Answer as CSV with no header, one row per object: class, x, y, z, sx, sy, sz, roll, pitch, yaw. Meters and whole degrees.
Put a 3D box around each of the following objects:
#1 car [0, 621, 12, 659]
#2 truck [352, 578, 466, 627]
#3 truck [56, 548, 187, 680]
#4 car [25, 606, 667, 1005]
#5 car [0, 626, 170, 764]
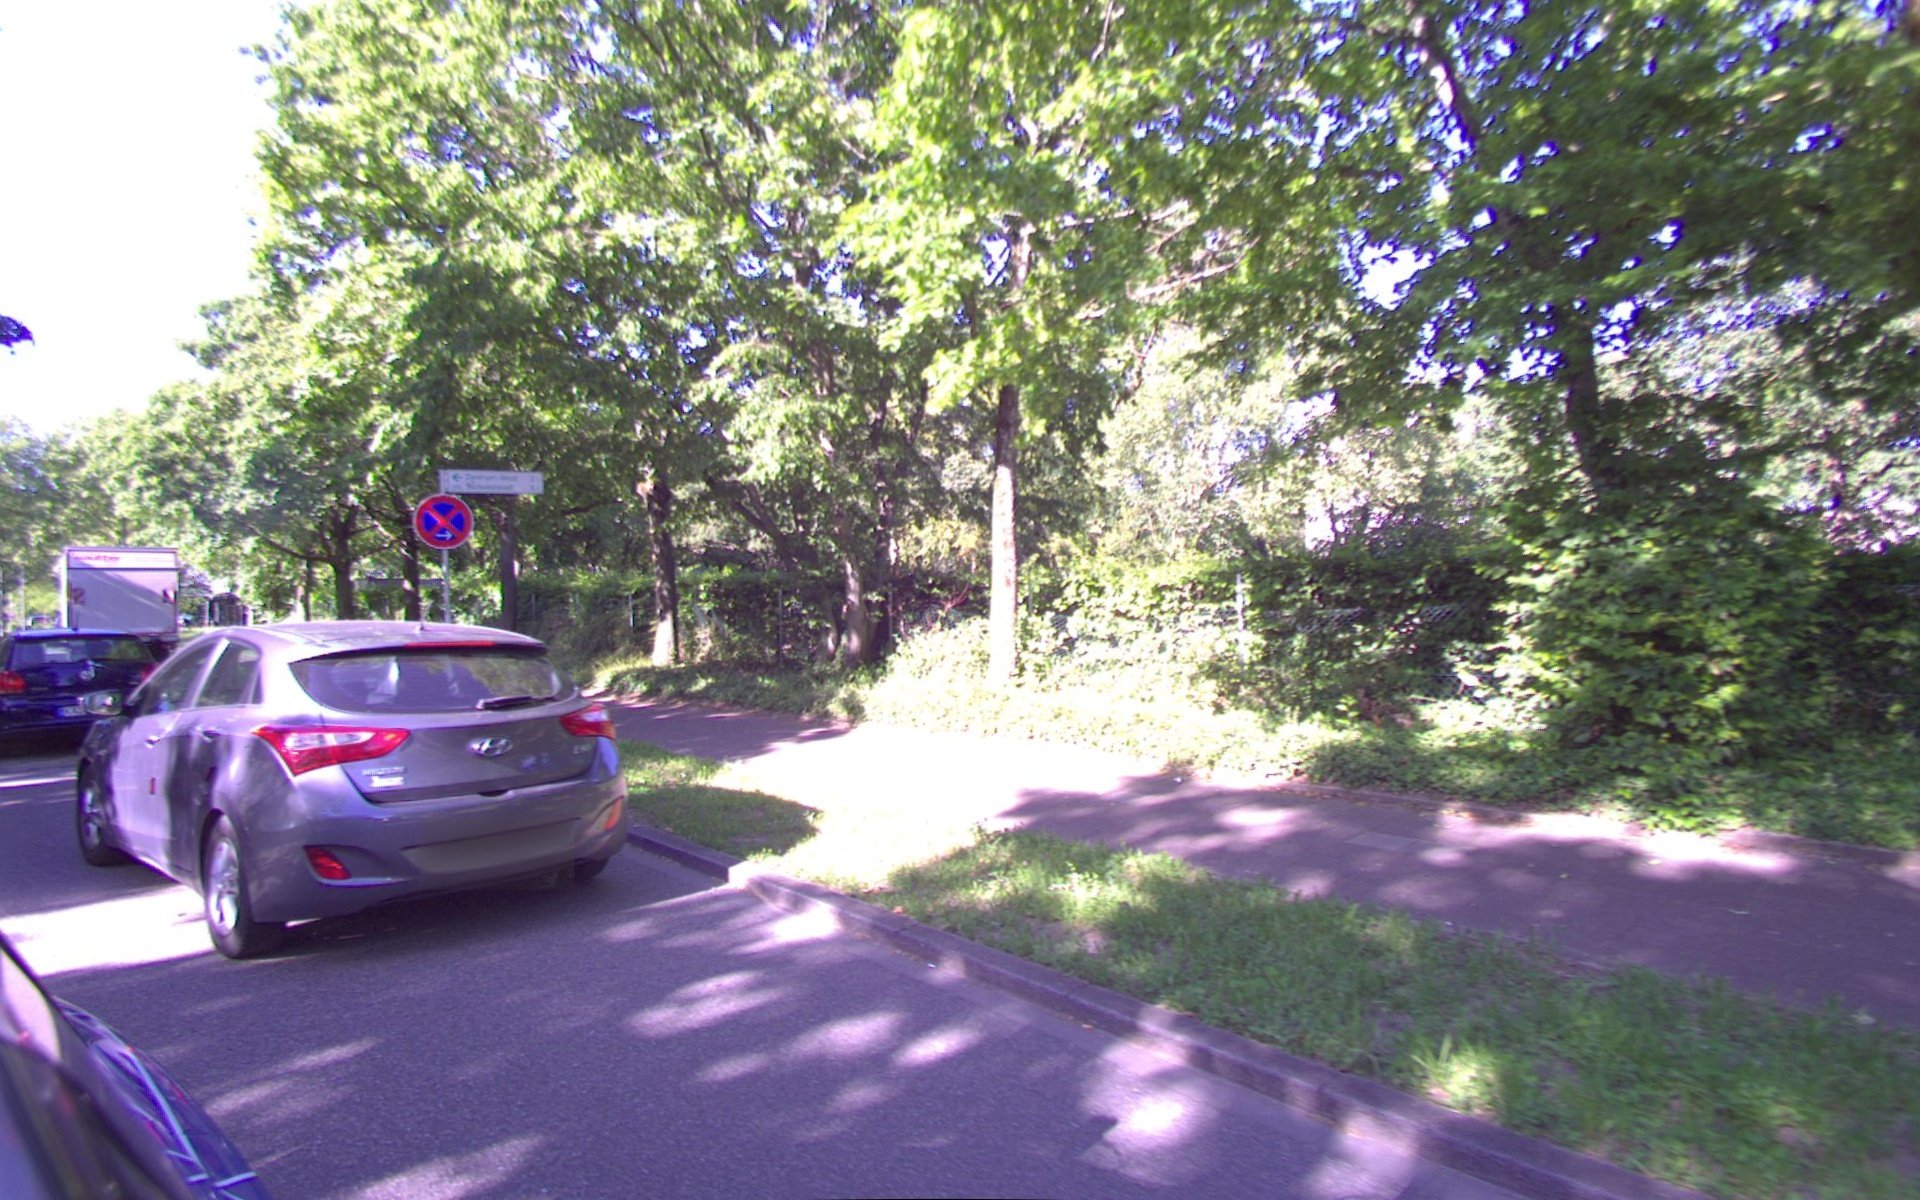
car,-55.223,2.323,56.111,3.960,2.028,1.992,-2,1,13
truck,-24.110,0.121,44.367,3.941,2.029,2.205,1,-2,-45
truck,-26.630,0.454,31.980,2.702,3.668,8.109,-2,0,-43
car,-3.674,0.812,5.742,4.237,1.465,1.739,-2,-2,38
car,-11.045,1.051,12.370,3.651,1.437,1.584,-2,-2,42
